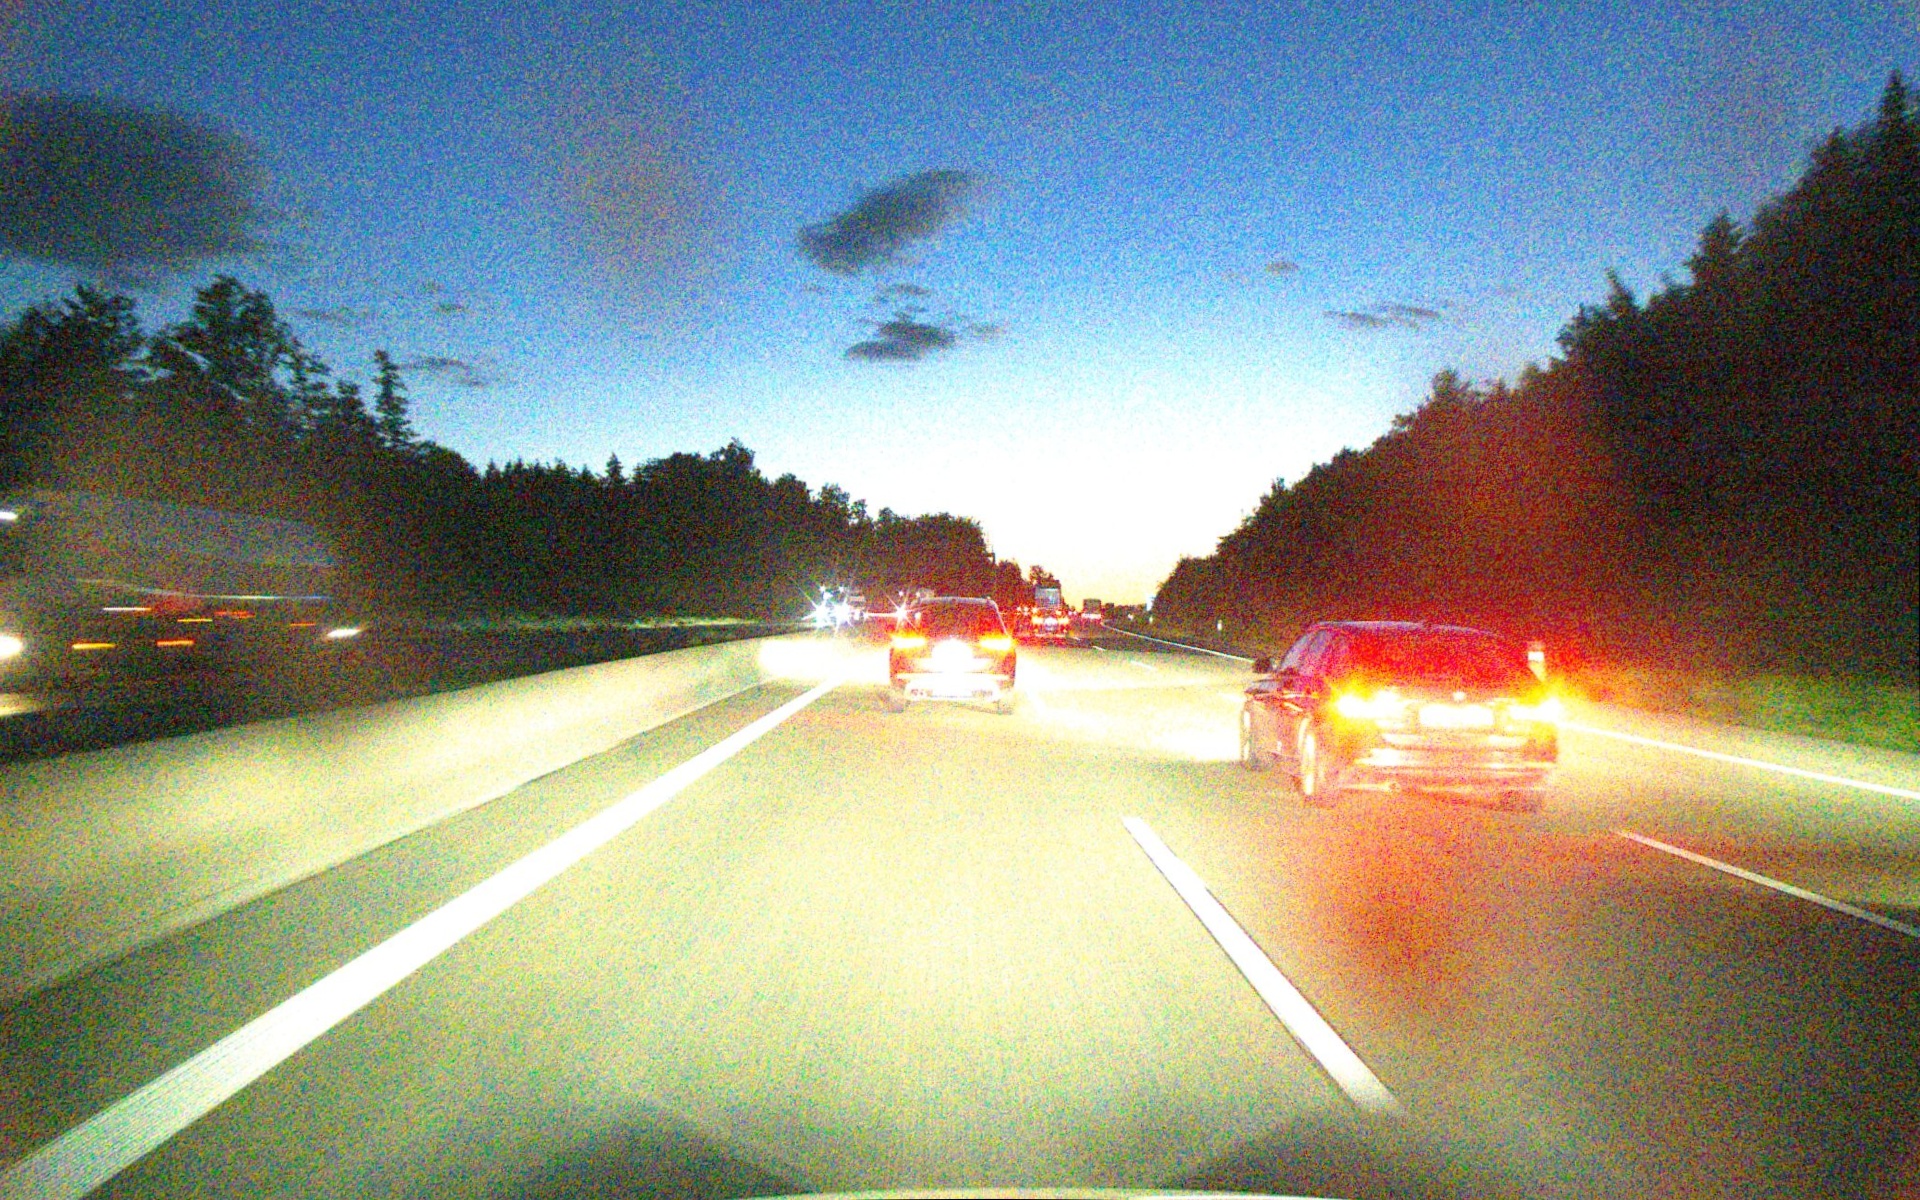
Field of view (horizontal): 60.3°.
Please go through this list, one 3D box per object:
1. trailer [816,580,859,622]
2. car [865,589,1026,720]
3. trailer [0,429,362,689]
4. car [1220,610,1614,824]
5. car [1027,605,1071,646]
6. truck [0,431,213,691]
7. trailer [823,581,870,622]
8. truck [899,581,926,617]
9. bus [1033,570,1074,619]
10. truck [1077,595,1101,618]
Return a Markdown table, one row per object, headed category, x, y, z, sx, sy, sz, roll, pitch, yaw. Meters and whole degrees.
| category | x | y | z | sx | sy | sz | roll | pitch | yaw |
| --- | --- | --- | --- | --- | --- | --- | --- | --- | --- |
| trailer | -11.209 | 0.136 | 152.045 | 2.993 | 3.754 | 7.232 | 1 | -1 | 3 |
| car | -0.206 | 0.698 | 23.727 | 2.063 | 1.646 | 4.204 | 2 | 0 | 0 |
| trailer | -16.535 | -0.621 | 33.400 | 3.366 | 4.077 | 14.759 | 1 | 0 | 0 |
| car | 3.540 | 0.824 | 13.895 | 1.798 | 1.425 | 5.067 | 1 | 0 | -1 |
| car | 4.148 | 1.214 | 77.539 | 1.872 | 1.760 | 4.000 | 3 | -2 | 2 |
| truck | -16.570 | -0.618 | 29.408 | 3.366 | 4.077 | 6.775 | 1 | -1 | 0 |
| trailer | -10.798 | 0.198 | 158.938 | 2.993 | 3.754 | 11.691 | 1 | 0 | 3 |
| truck | -6.121 | -0.103 | 213.016 | 2.792 | 4.511 | 6.399 | 1 | -1 | 4 |
| bus | 9.023 | -0.441 | 157.808 | 2.596 | 4.064 | 14.711 | -2 | -2 | 8 |
| truck | 17.935 | 0.920 | 230.081 | 2.494 | 3.069 | 9.052 | 1 | 0 | 0 |
